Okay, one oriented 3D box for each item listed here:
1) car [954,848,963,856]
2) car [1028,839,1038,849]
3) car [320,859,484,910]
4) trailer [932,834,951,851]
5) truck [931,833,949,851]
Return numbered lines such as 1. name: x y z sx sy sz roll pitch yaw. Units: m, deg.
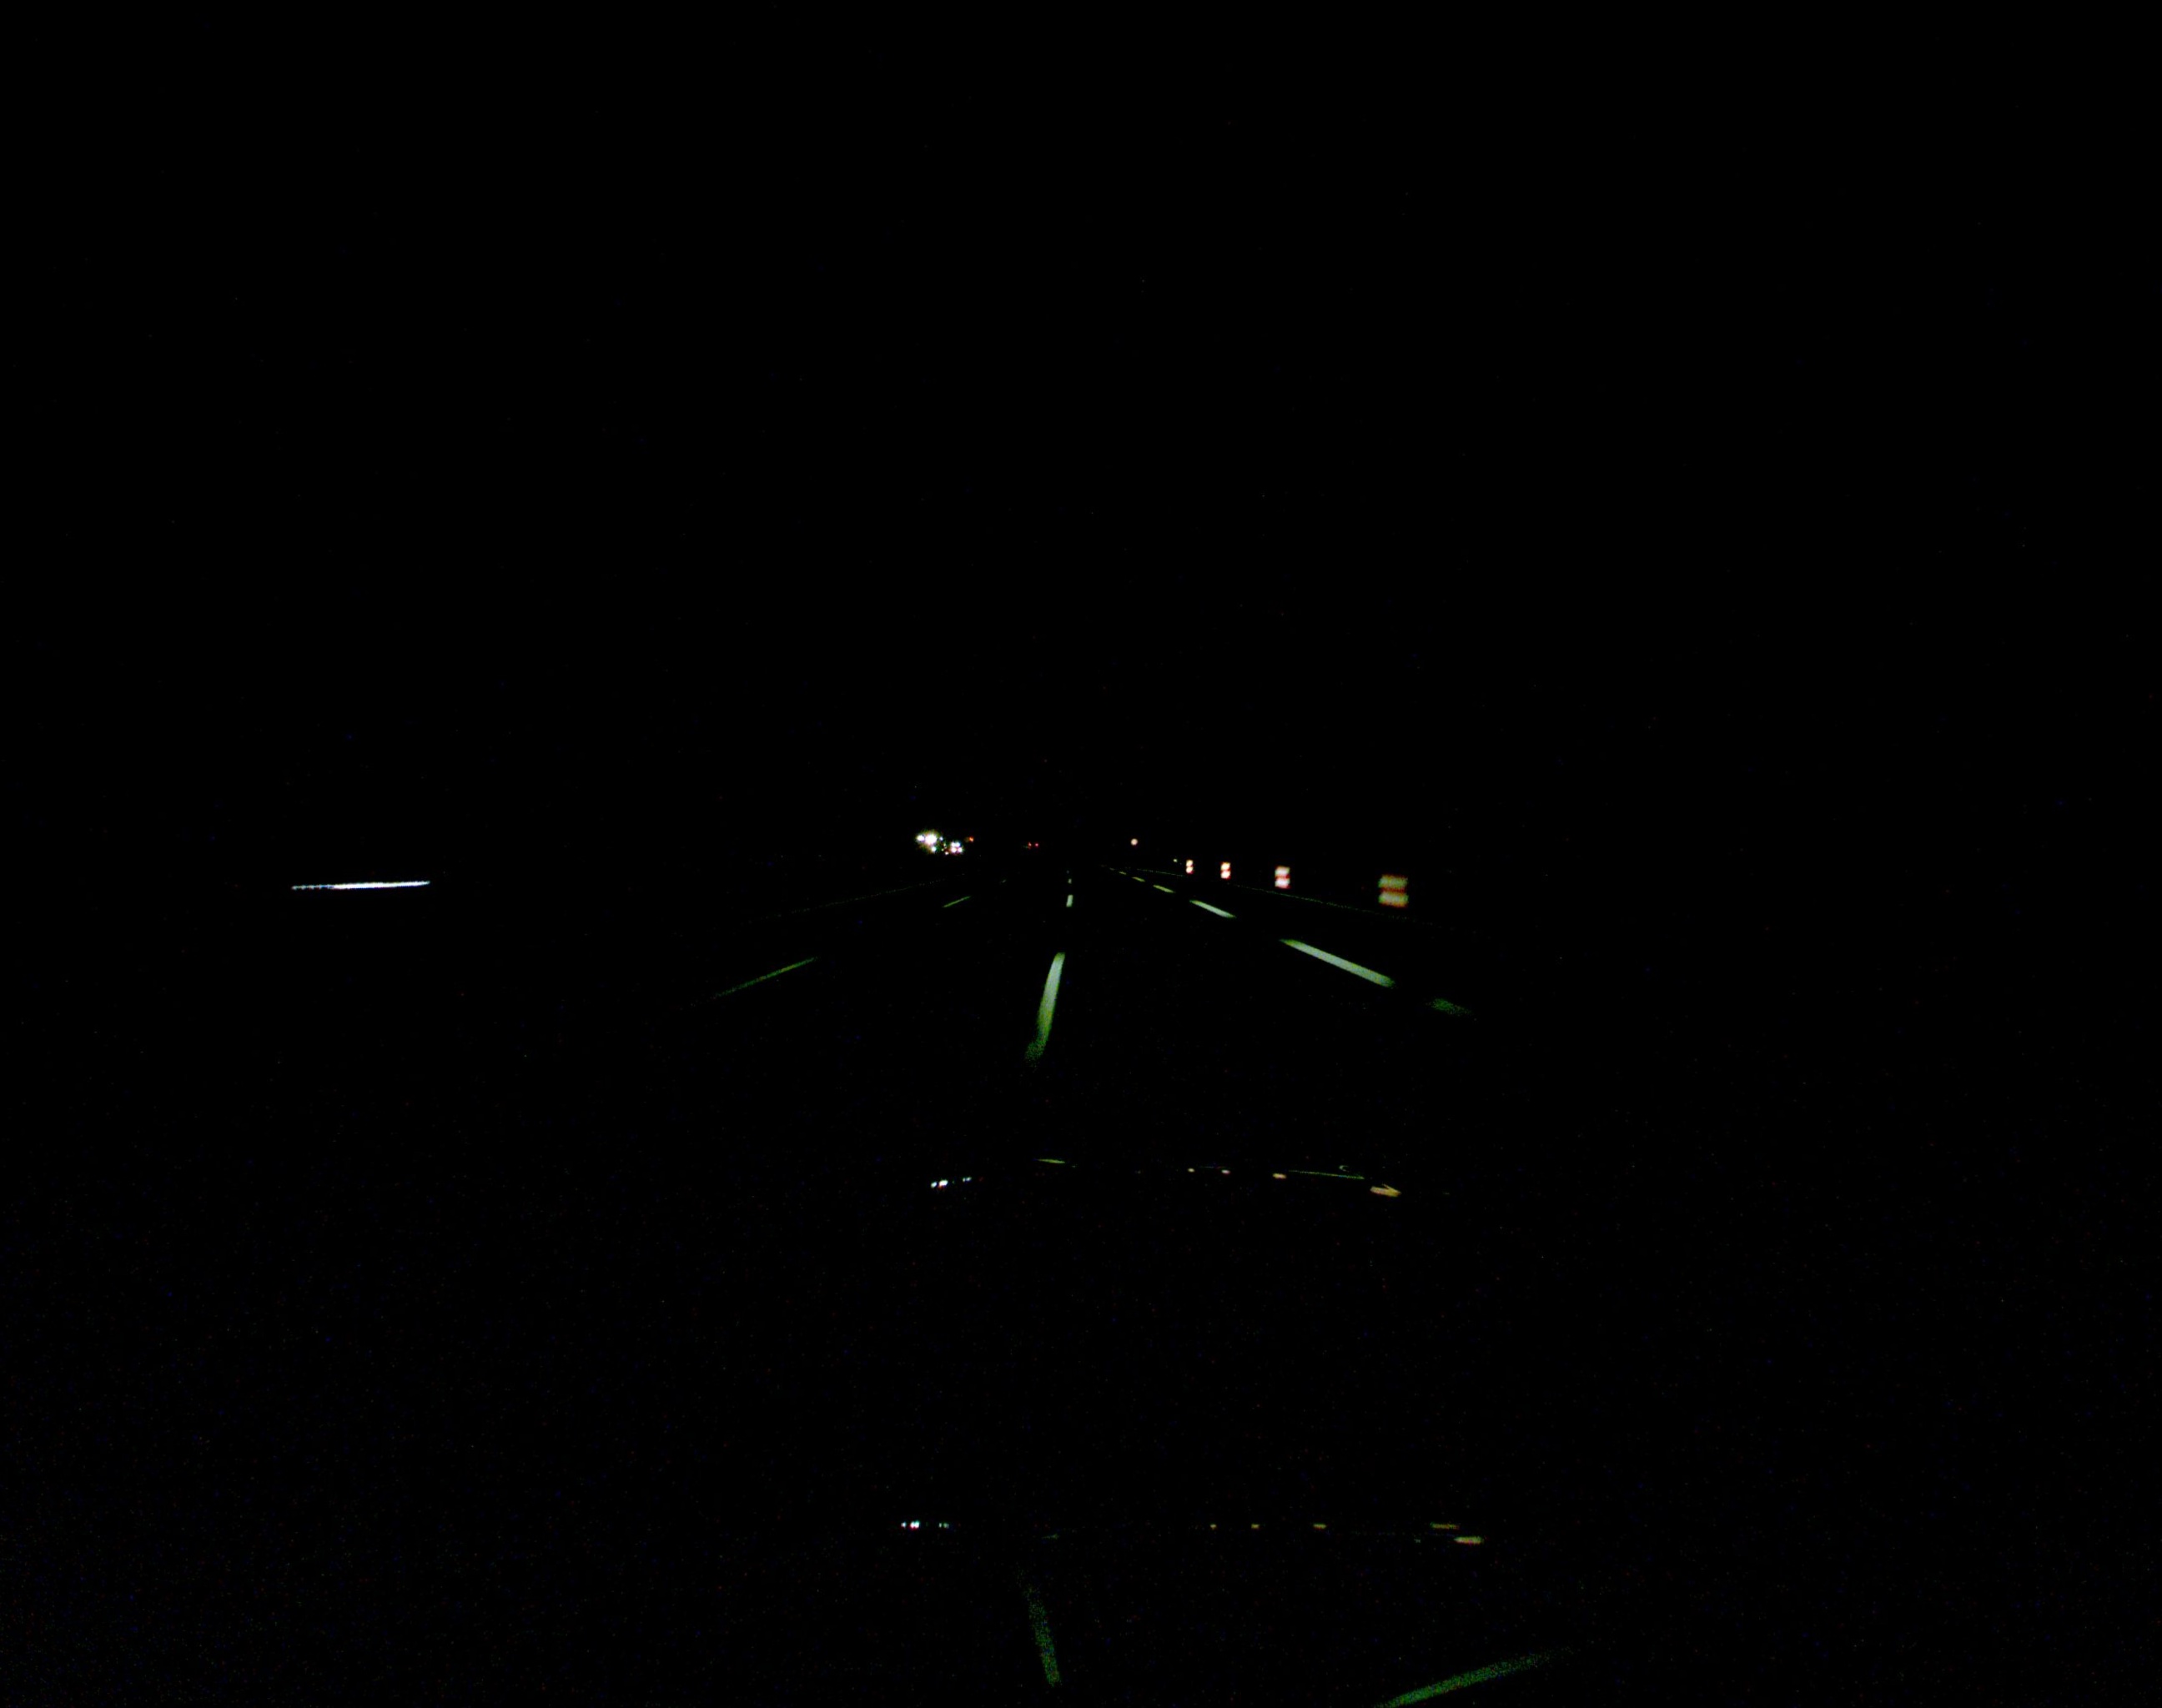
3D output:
1. car: -27.791 -0.551 184.538 1.993 1.726 4.064 -1 1 -9
2. car: -13.002 -2.814 219.914 2.522 2.553 6.044 2 1 -3
3. car: -22.758 0.960 27.572 1.988 1.508 4.312 -1 0 -2
4. trailer: -34.582 -2.884 202.729 3.594 4.090 14.095 -1 1 -6
5. truck: -33.974 -2.840 196.590 3.584 4.099 5.984 -1 1 -5
